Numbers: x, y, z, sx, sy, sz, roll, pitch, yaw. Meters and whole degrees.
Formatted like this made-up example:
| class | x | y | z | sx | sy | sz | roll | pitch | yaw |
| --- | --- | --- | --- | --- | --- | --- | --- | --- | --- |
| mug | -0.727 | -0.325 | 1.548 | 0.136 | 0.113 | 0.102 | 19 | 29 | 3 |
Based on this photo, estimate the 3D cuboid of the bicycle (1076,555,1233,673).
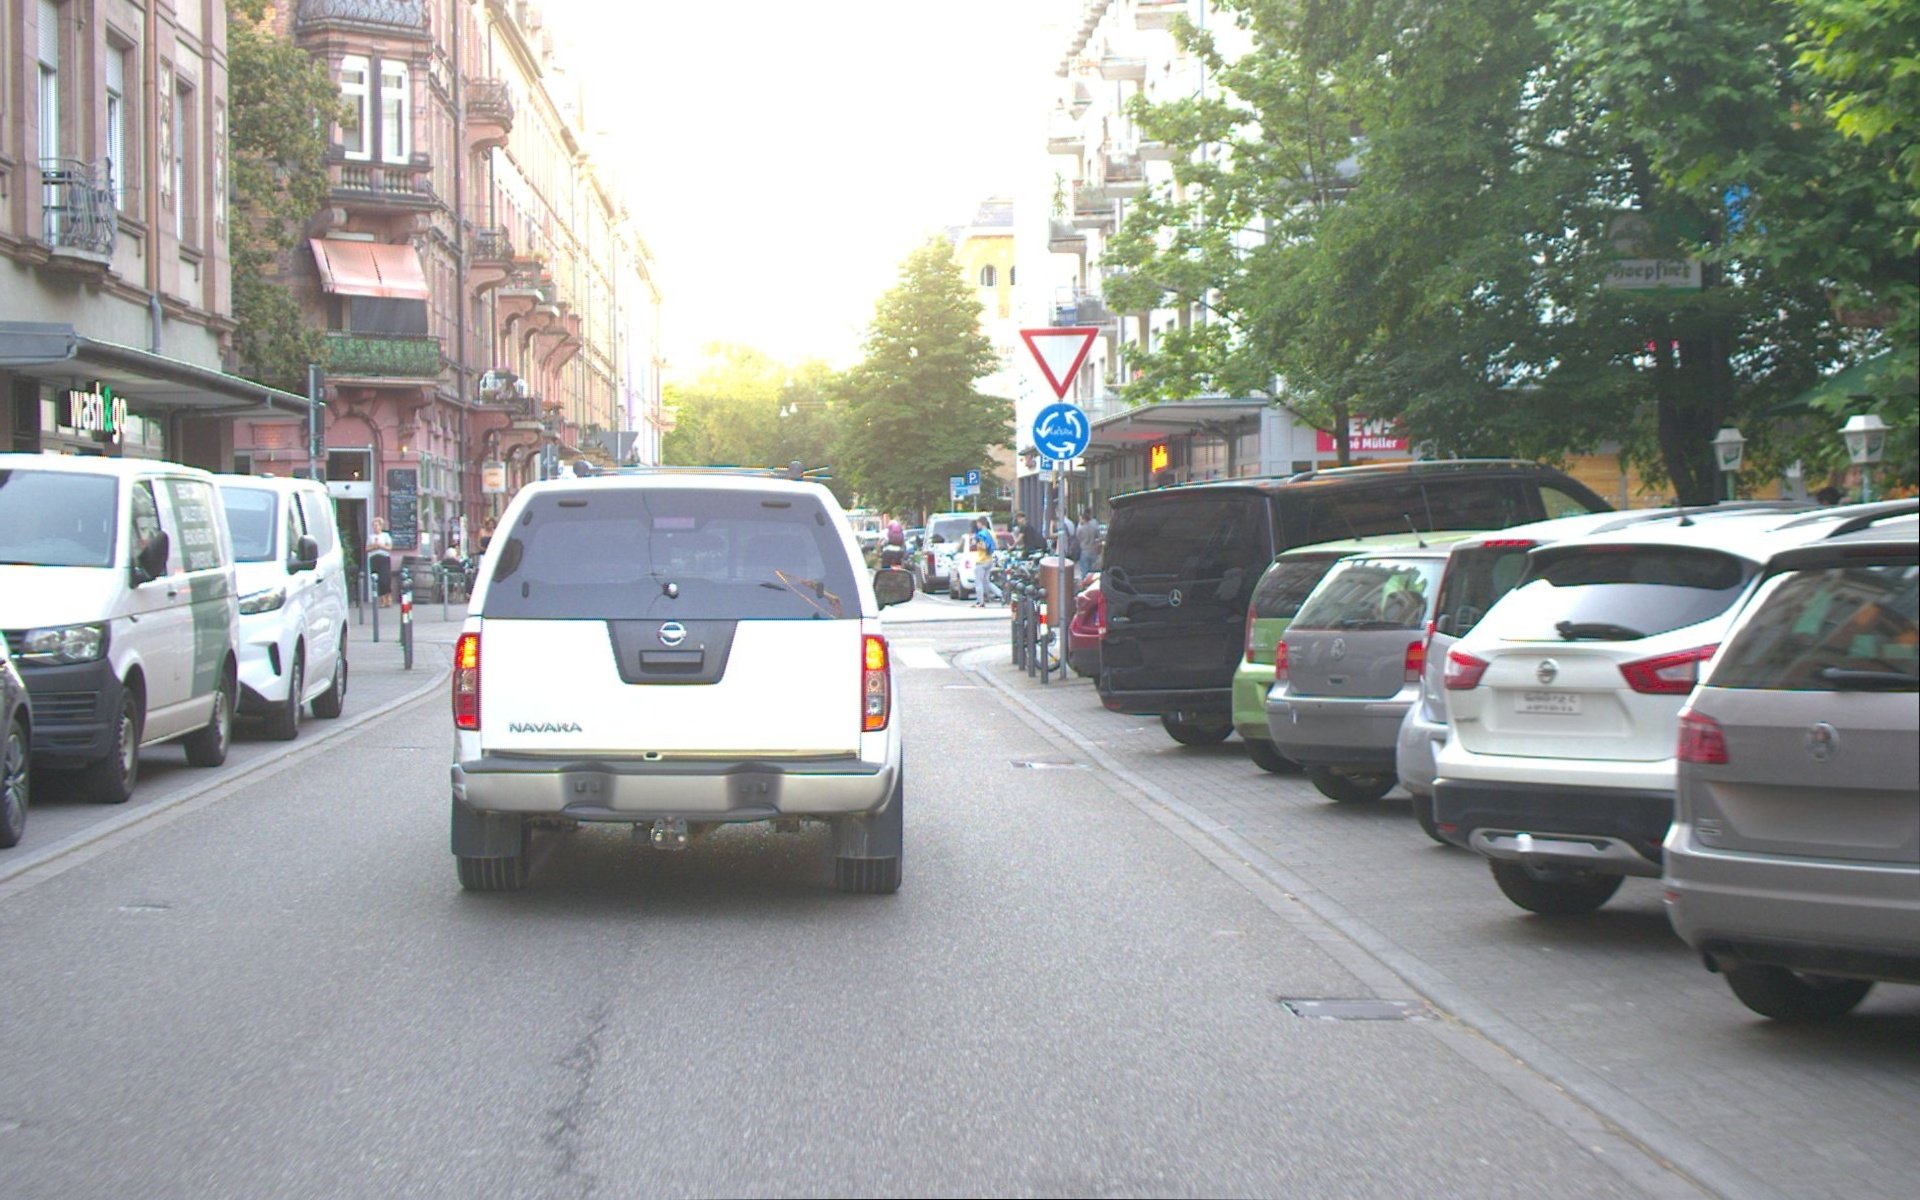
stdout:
| class | x | y | z | sx | sy | sz | roll | pitch | yaw |
| --- | --- | --- | --- | --- | --- | --- | --- | --- | --- |
| bicycle | 1.998 | 0.133 | 35.272 | 1.547 | 1.157 | 0.365 | -2 | 1 | -17 |

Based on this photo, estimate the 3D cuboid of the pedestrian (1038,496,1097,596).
| class | x | y | z | sx | sy | sz | roll | pitch | yaw |
| --- | --- | --- | --- | --- | --- | --- | --- | --- | --- |
| pedestrian | 2.032 | -1.022 | 64.998 | 0.903 | 1.878 | 0.616 | 1 | 0 | -33 |

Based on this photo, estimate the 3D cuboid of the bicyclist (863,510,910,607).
| class | x | y | z | sx | sy | sz | roll | pitch | yaw |
| --- | --- | --- | --- | --- | --- | --- | --- | --- | --- |
| bicyclist | -1.488 | -0.829 | 69.398 | 0.838 | 1.937 | 0.785 | 1 | 0 | -9 |

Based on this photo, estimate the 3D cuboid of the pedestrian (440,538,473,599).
| class | x | y | z | sx | sy | sz | roll | pitch | yaw |
| --- | --- | --- | --- | --- | --- | --- | --- | --- | --- |
| pedestrian | -10.695 | -0.663 | 73.027 | 0.648 | 1.281 | 0.540 | 1 | 0 | -7 |

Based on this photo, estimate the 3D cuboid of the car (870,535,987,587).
| class | x | y | z | sx | sy | sz | roll | pitch | yaw |
| --- | --- | --- | --- | --- | --- | --- | --- | --- | --- |
| car | -1.120 | -1.381 | 120.486 | 3.986 | 1.744 | 1.841 | 1 | 0 | -4 |

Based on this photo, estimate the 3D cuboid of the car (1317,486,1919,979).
| class | x | y | z | sx | sy | sz | roll | pitch | yaw |
| --- | --- | --- | --- | --- | --- | --- | --- | --- | --- |
| car | 3.623 | 0.379 | 13.656 | 4.096 | 1.585 | 1.818 | -4 | 2 | -33 |

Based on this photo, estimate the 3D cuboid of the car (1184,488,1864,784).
| class | x | y | z | sx | sy | sz | roll | pitch | yaw |
| --- | --- | --- | --- | --- | --- | --- | --- | --- | --- |
| car | 3.642 | 0.170 | 21.938 | 4.096 | 1.546 | 1.818 | -4 | 3 | -34 |

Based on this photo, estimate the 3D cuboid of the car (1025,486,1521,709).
| class | x | y | z | sx | sy | sz | roll | pitch | yaw |
| --- | --- | --- | --- | --- | --- | --- | --- | --- | --- |
| car | 2.824 | -0.062 | 30.516 | 4.213 | 1.682 | 1.932 | -5 | 3 | -41 |

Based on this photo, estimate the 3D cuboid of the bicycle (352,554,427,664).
| class | x | y | z | sx | sy | sz | roll | pitch | yaw |
| --- | --- | --- | --- | --- | --- | --- | --- | --- | --- |
| bicycle | -6.085 | 0.088 | 36.742 | 0.471 | 1.138 | 1.785 | 1 | 0 | 1 |

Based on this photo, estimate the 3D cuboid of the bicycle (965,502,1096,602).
| class | x | y | z | sx | sy | sz | roll | pitch | yaw |
| --- | --- | --- | --- | --- | --- | --- | --- | --- | --- |
| bicycle | 1.445 | -0.982 | 70.713 | 2.647 | 2.007 | 0.638 | 1 | 0 | -1 |

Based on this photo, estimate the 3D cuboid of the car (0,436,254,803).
| class | x | y | z | sx | sy | sz | roll | pitch | yaw |
| --- | --- | --- | --- | --- | --- | --- | --- | --- | --- |
| car | -5.525 | 0.060 | 20.380 | 1.837 | 1.915 | 4.846 | 0 | 1 | -2 |

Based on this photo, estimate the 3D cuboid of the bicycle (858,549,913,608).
| class | x | y | z | sx | sy | sz | roll | pitch | yaw |
| --- | --- | --- | --- | --- | --- | --- | --- | --- | --- |
| bicycle | -1.504 | -0.445 | 69.458 | 0.838 | 1.167 | 1.936 | 1 | 0 | -9 |

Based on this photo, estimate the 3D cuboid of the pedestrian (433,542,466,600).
| class | x | y | z | sx | sy | sz | roll | pitch | yaw |
| --- | --- | --- | --- | --- | --- | --- | --- | --- | --- |
| pedestrian | -10.664 | -0.604 | 71.842 | 0.648 | 1.187 | 0.540 | 1 | 0 | -7 |

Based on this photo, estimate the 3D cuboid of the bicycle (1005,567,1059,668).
| class | x | y | z | sx | sy | sz | roll | pitch | yaw |
| --- | --- | --- | --- | --- | --- | --- | --- | --- | --- |
| bicycle | 0.768 | 0.181 | 37.168 | 0.364 | 1.060 | 1.552 | 1 | 0 | -6 |

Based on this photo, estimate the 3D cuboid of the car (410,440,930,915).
| class | x | y | z | sx | sy | sz | roll | pitch | yaw |
| --- | --- | --- | --- | --- | --- | --- | --- | --- | --- |
| car | -1.143 | 0.278 | 15.779 | 1.938 | 1.804 | 5.001 | 1 | 0 | 0 |

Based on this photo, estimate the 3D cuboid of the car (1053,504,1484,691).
| class | x | y | z | sx | sy | sz | roll | pitch | yaw |
| --- | --- | --- | --- | --- | --- | --- | --- | --- | --- |
| car | 3.071 | -0.073 | 33.868 | 4.036 | 1.622 | 1.693 | -3 | 3 | -34 |

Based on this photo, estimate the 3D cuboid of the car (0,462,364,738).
| class | x | y | z | sx | sy | sz | roll | pitch | yaw |
| --- | --- | --- | --- | --- | --- | --- | --- | --- | --- |
| car | -5.910 | -0.047 | 26.487 | 2.109 | 1.915 | 5.027 | 0 | 1 | -4 |

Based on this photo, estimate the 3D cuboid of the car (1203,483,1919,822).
| class | x | y | z | sx | sy | sz | roll | pitch | yaw |
| --- | --- | --- | --- | --- | --- | --- | --- | --- | --- |
| car | 3.571 | 0.221 | 19.253 | 4.096 | 1.546 | 1.818 | -4 | 3 | -34 |

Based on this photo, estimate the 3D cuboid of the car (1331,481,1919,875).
| class | x | y | z | sx | sy | sz | roll | pitch | yaw |
| --- | --- | --- | --- | --- | --- | --- | --- | --- | --- |
| car | 3.932 | 0.276 | 16.882 | 4.098 | 1.585 | 1.818 | -5 | 3 | -40 |

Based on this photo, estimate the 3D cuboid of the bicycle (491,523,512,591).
| class | x | y | z | sx | sy | sz | roll | pitch | yaw |
| --- | --- | --- | --- | --- | --- | --- | --- | --- | --- |
| bicycle | -9.966 | -0.935 | 74.681 | 0.424 | 1.437 | 1.905 | 1 | 0 | -7 |

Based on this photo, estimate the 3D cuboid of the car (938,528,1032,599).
| class | x | y | z | sx | sy | sz | roll | pitch | yaw |
| --- | --- | --- | --- | --- | --- | --- | --- | --- | --- |
| car | 0.534 | -0.828 | 78.162 | 1.834 | 1.536 | 4.001 | 1 | 0 | -4 |

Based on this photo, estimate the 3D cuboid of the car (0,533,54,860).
| class | x | y | z | sx | sy | sz | roll | pitch | yaw |
| --- | --- | --- | --- | --- | --- | --- | --- | --- | --- |
| car | -5.155 | 0.448 | 14.573 | 1.836 | 1.466 | 4.173 | 0 | 1 | -5 |

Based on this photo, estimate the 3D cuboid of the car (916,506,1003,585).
| class | x | y | z | sx | sy | sz | roll | pitch | yaw |
| --- | --- | --- | --- | --- | --- | --- | --- | --- | --- |
| car | -0.038 | -1.373 | 86.921 | 1.942 | 1.927 | 4.001 | 1 | 0 | -4 |

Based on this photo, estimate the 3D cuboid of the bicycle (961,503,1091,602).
| class | x | y | z | sx | sy | sz | roll | pitch | yaw |
| --- | --- | --- | --- | --- | --- | --- | --- | --- | --- |
| bicycle | 1.364 | -0.991 | 71.525 | 2.647 | 2.007 | 0.638 | 1 | 0 | -1 |

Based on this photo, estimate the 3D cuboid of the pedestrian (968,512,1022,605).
| class | x | y | z | sx | sy | sz | roll | pitch | yaw |
| --- | --- | --- | --- | --- | --- | --- | --- | --- | --- |
| pedestrian | 0.653 | -0.788 | 64.976 | 0.903 | 1.730 | 0.616 | 1 | 0 | -10 |

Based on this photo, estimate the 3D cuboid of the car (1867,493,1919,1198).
| class | x | y | z | sx | sy | sz | roll | pitch | yaw |
| --- | --- | --- | --- | --- | --- | --- | --- | --- | --- |
| car | 4.338 | 0.505 | 8.098 | 4.153 | 1.585 | 1.886 | -2 | 2 | -31 |

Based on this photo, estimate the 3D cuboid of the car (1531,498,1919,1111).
| class | x | y | z | sx | sy | sz | roll | pitch | yaw |
| --- | --- | --- | --- | --- | --- | --- | --- | --- | --- |
| car | 4.005 | 0.445 | 10.750 | 4.154 | 1.585 | 1.886 | -4 | 3 | -33 |

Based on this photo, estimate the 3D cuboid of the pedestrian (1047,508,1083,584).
| class | x | y | z | sx | sy | sz | roll | pitch | yaw |
| --- | --- | --- | --- | --- | --- | --- | --- | --- | --- |
| pedestrian | 2.302 | -1.189 | 75.486 | 0.720 | 1.657 | 0.702 | 1 | 0 | -2 |

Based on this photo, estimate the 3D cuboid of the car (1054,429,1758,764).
| class | x | y | z | sx | sy | sz | roll | pitch | yaw |
| --- | --- | --- | --- | --- | --- | --- | --- | --- | --- |
| car | 3.388 | -0.105 | 25.264 | 5.422 | 2.065 | 1.932 | -5 | 3 | -41 |

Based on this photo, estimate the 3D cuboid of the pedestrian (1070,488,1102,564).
| class | x | y | z | sx | sy | sz | roll | pitch | yaw |
| --- | --- | --- | --- | --- | --- | --- | --- | --- | --- |
| pedestrian | 3.192 | -1.870 | 86.967 | 0.720 | 1.900 | 0.702 | 1 | 0 | -2 |
